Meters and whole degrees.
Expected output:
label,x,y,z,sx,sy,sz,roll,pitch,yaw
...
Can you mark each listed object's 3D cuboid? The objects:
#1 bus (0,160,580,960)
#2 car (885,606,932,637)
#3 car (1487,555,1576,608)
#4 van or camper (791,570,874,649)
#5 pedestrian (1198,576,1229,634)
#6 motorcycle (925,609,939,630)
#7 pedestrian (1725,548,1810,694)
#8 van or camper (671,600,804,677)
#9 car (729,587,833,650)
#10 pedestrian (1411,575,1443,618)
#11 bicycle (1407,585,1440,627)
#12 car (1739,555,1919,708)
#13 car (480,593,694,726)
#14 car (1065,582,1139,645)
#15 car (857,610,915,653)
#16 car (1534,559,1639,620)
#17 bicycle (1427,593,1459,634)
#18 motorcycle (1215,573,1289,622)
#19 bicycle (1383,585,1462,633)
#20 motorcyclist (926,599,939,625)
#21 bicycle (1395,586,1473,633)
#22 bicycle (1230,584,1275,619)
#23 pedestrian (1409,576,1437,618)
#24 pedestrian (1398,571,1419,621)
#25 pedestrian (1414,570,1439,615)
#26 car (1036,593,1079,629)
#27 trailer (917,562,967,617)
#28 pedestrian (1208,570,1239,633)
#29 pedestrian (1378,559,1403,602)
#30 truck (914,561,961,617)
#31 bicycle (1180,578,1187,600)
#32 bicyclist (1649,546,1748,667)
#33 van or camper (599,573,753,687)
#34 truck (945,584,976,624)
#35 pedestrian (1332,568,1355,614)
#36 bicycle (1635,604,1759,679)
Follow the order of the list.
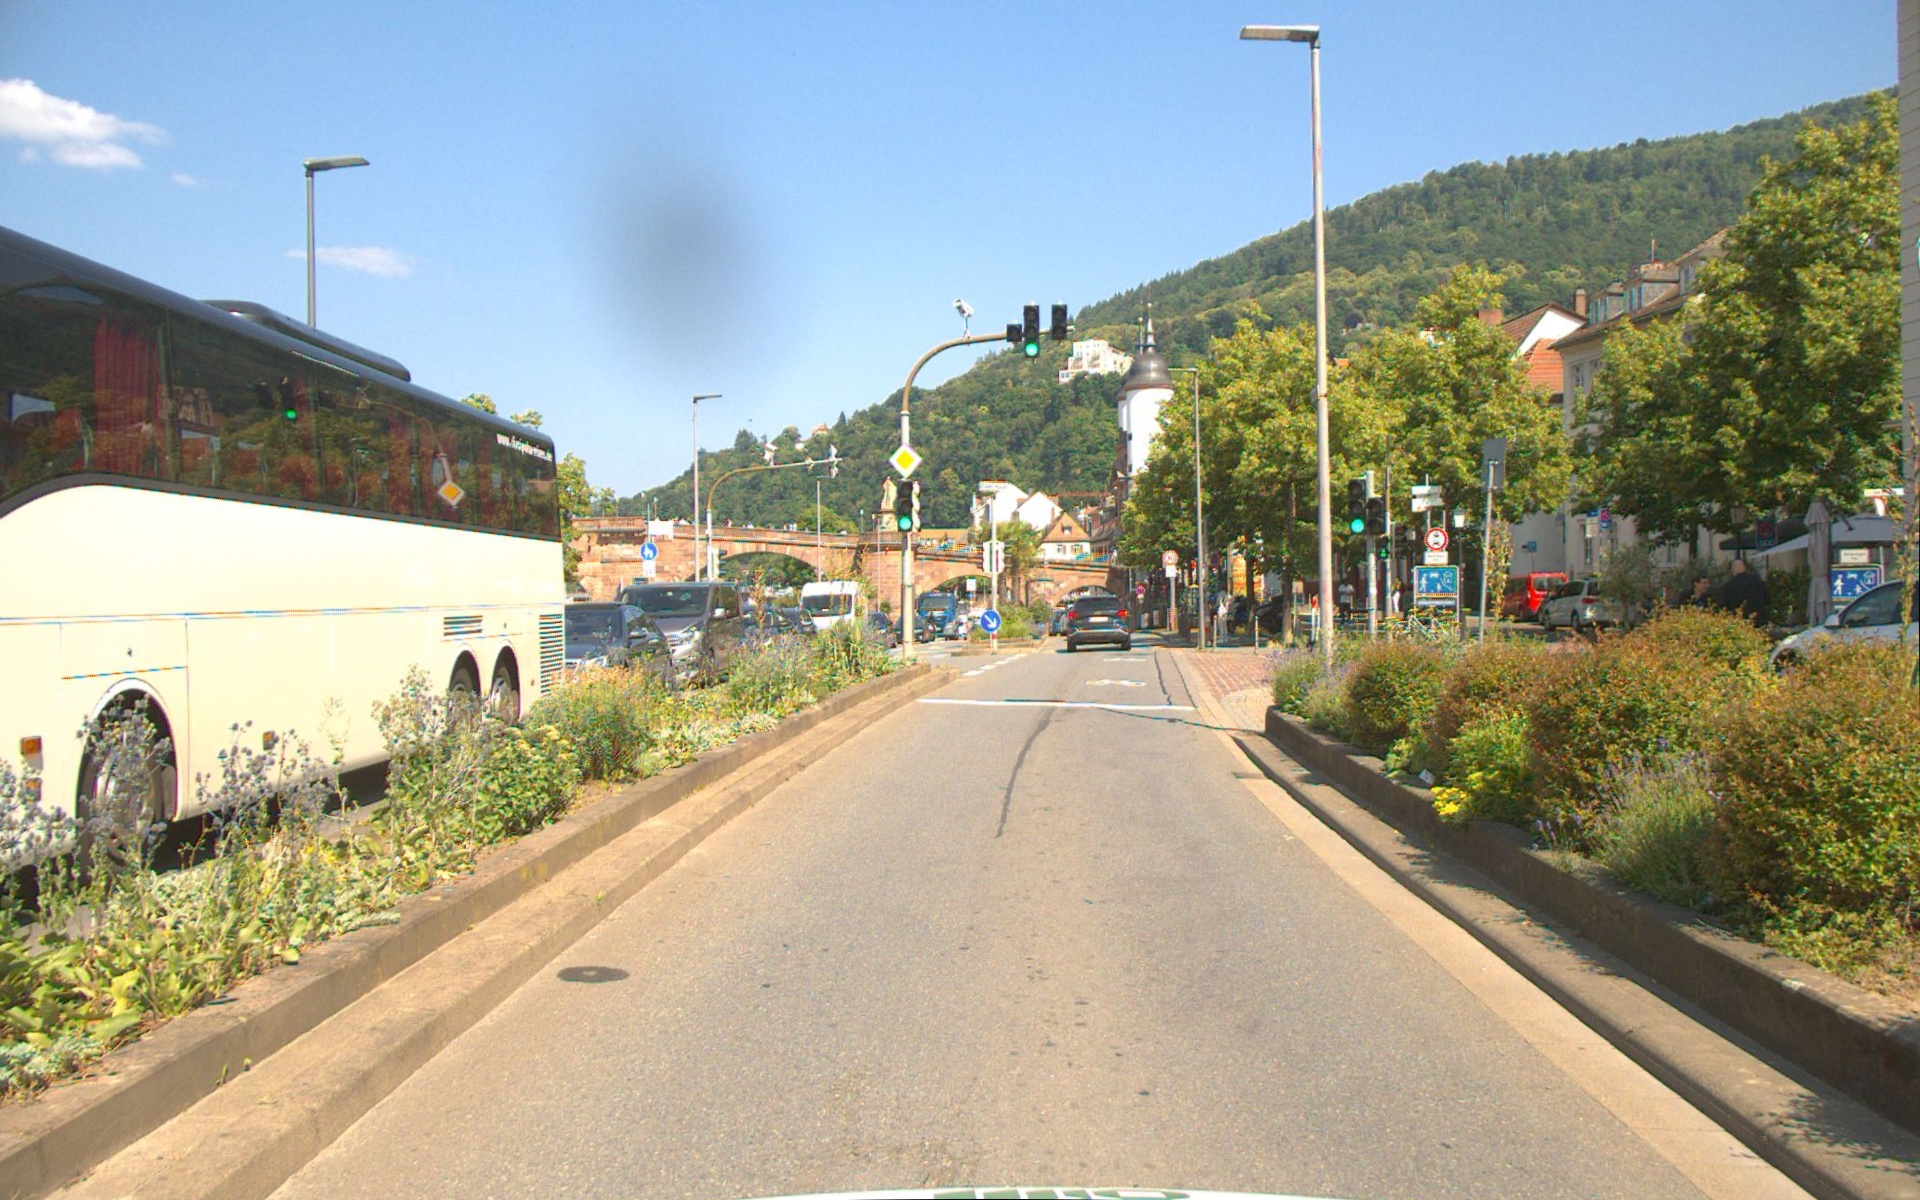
label,x,y,z,sx,sy,sz,roll,pitch,yaw
bus,-5.662,-0.132,12.522,2.577,3.626,12.981,-2,0,0
car,-2.636,1.118,85.762,1.911,1.437,4.220,-4,-1,4
car,22.172,-0.732,64.352,1.952,1.935,4.634,-2,1,2
van or camper,-4.307,0.339,56.791,1.952,2.492,5.497,-3,-1,4
pedestrian,7.631,0.144,49.760,0.680,1.706,0.763,-3,0,-4
motorcycle,-1.629,1.146,96.508,0.742,1.151,2.455,-2,0,0
pedestrian,10.850,0.279,22.243,0.747,1.890,0.609,-3,0,-4
van or camper,-4.881,0.811,37.083,1.952,1.502,5.067,-3,0,3
car,-4.661,0.447,43.732,1.912,1.433,4.572,-4,0,3
pedestrian,14.373,-0.105,50.930,0.680,1.274,0.763,-2,0,-4
bicycle,12.625,0.160,45.024,0.582,1.086,2.065,-2,0,22
car,10.869,0.311,18.419,1.841,1.605,4.722,-1,0,-5
car,-5.413,0.785,24.734,1.953,1.626,5.156,-4,0,0
car,3.925,0.417,46.361,1.886,1.580,4.832,1,-2,3
car,-2.921,1.224,66.283,1.781,1.481,4.931,-4,0,3
car,19.621,-0.347,51.999,1.732,1.759,4.570,-2,1,3
bicycle,13.066,0.363,44.742,0.582,1.086,2.065,-2,-1,23
motorcycle,9.392,-0.071,53.286,0.759,1.490,2.260,-1,-1,-45
bicycle,12.071,0.223,43.184,1.956,1.219,0.522,1,1,16
motorcyclist,-1.623,0.718,96.482,0.721,1.496,1.011,-2,0,0
bicycle,12.483,0.238,43.597,1.969,1.219,0.522,0,1,16
bicycle,9.995,0.051,56.604,1.454,1.139,0.251,-3,0,-2
pedestrian,14.692,-0.093,52.509,0.613,1.304,0.753,1,0,-4
pedestrian,14.150,-0.129,52.191,0.450,1.543,0.690,0,0,-4
pedestrian,14.613,-0.240,51.824,0.613,1.406,0.541,1,0,-4
car,4.606,0.490,77.857,1.952,1.580,4.834,-2,1,4
trailer,-1.162,-0.712,111.889,2.602,3.463,8.831,-2,0,4
pedestrian,7.835,0.040,49.245,0.680,1.802,0.763,-3,0,-4
pedestrian,20.322,-0.918,78.023,0.948,1.948,0.748,-2,0,4
truck,-1.456,-0.706,107.447,2.602,3.463,4.452,-2,0,4
bicycle,11.693,-0.583,86.688,0.245,1.115,1.489,0,0,3
bicyclist,10.204,0.088,22.887,0.752,1.611,1.087,-1,0,-9
van or camper,-5.257,0.512,31.347,1.953,1.906,5.179,-2,0,0
truck,0.068,0.317,149.179,2.603,3.463,5.136,-2,0,1
pedestrian,14.198,-0.333,61.216,0.692,1.682,0.707,-2,0,4
bicycle,10.197,0.558,22.946,0.735,0.981,1.779,-1,0,-8
